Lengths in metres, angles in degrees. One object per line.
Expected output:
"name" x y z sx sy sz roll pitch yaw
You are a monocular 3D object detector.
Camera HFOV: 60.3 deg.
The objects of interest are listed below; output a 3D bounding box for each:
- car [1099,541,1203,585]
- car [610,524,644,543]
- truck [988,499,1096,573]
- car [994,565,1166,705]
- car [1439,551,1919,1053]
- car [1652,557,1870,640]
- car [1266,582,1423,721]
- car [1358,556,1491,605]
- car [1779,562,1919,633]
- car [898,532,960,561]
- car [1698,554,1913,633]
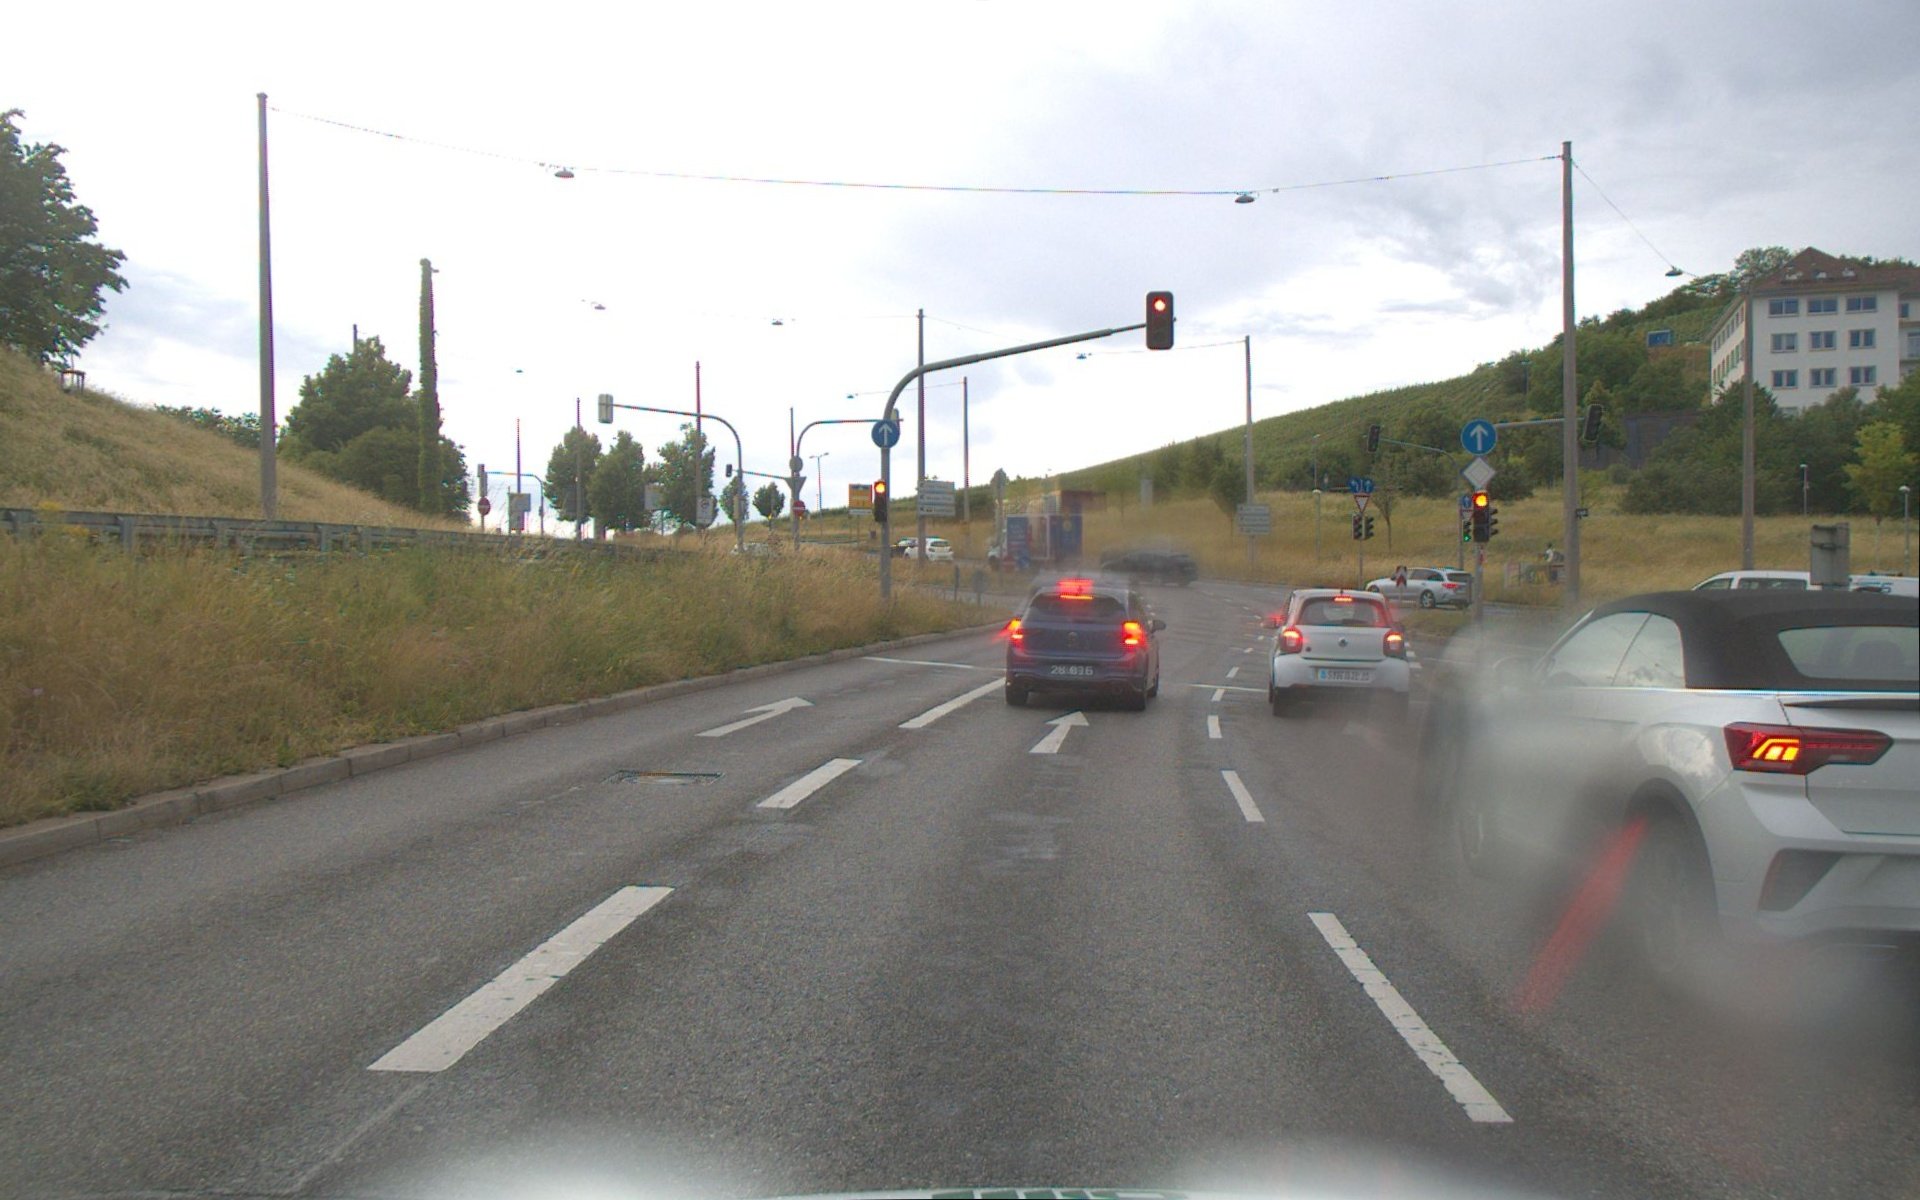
"car" 8.362 -1.665 72.753 1.981 1.741 4.500 -3 5 -39
"car" -32.144 -6.400 159.791 1.972 1.741 4.520 -2 2 -28
"truck" 4.092 -3.309 84.192 2.815 3.587 6.182 -2 4 -27
"car" 1.657 0.416 21.453 1.885 1.627 4.065 0 0 9
"car" 3.683 0.661 7.399 1.954 1.606 4.127 2 1 2
"car" 19.880 -0.096 41.228 1.976 1.741 4.511 -2 4 -33
"car" 4.819 0.578 21.126 1.737 1.545 3.728 2 1 11
"car" 16.746 -0.726 59.793 1.973 1.633 4.517 0 2 -30
"car" 24.950 -0.077 44.614 1.972 1.722 4.850 1 3 -29
"car" -1.842 -3.106 96.035 1.969 1.526 4.528 -2 4 -25
"car" 21.888 -0.223 43.009 1.976 1.741 4.613 -2 4 -33
